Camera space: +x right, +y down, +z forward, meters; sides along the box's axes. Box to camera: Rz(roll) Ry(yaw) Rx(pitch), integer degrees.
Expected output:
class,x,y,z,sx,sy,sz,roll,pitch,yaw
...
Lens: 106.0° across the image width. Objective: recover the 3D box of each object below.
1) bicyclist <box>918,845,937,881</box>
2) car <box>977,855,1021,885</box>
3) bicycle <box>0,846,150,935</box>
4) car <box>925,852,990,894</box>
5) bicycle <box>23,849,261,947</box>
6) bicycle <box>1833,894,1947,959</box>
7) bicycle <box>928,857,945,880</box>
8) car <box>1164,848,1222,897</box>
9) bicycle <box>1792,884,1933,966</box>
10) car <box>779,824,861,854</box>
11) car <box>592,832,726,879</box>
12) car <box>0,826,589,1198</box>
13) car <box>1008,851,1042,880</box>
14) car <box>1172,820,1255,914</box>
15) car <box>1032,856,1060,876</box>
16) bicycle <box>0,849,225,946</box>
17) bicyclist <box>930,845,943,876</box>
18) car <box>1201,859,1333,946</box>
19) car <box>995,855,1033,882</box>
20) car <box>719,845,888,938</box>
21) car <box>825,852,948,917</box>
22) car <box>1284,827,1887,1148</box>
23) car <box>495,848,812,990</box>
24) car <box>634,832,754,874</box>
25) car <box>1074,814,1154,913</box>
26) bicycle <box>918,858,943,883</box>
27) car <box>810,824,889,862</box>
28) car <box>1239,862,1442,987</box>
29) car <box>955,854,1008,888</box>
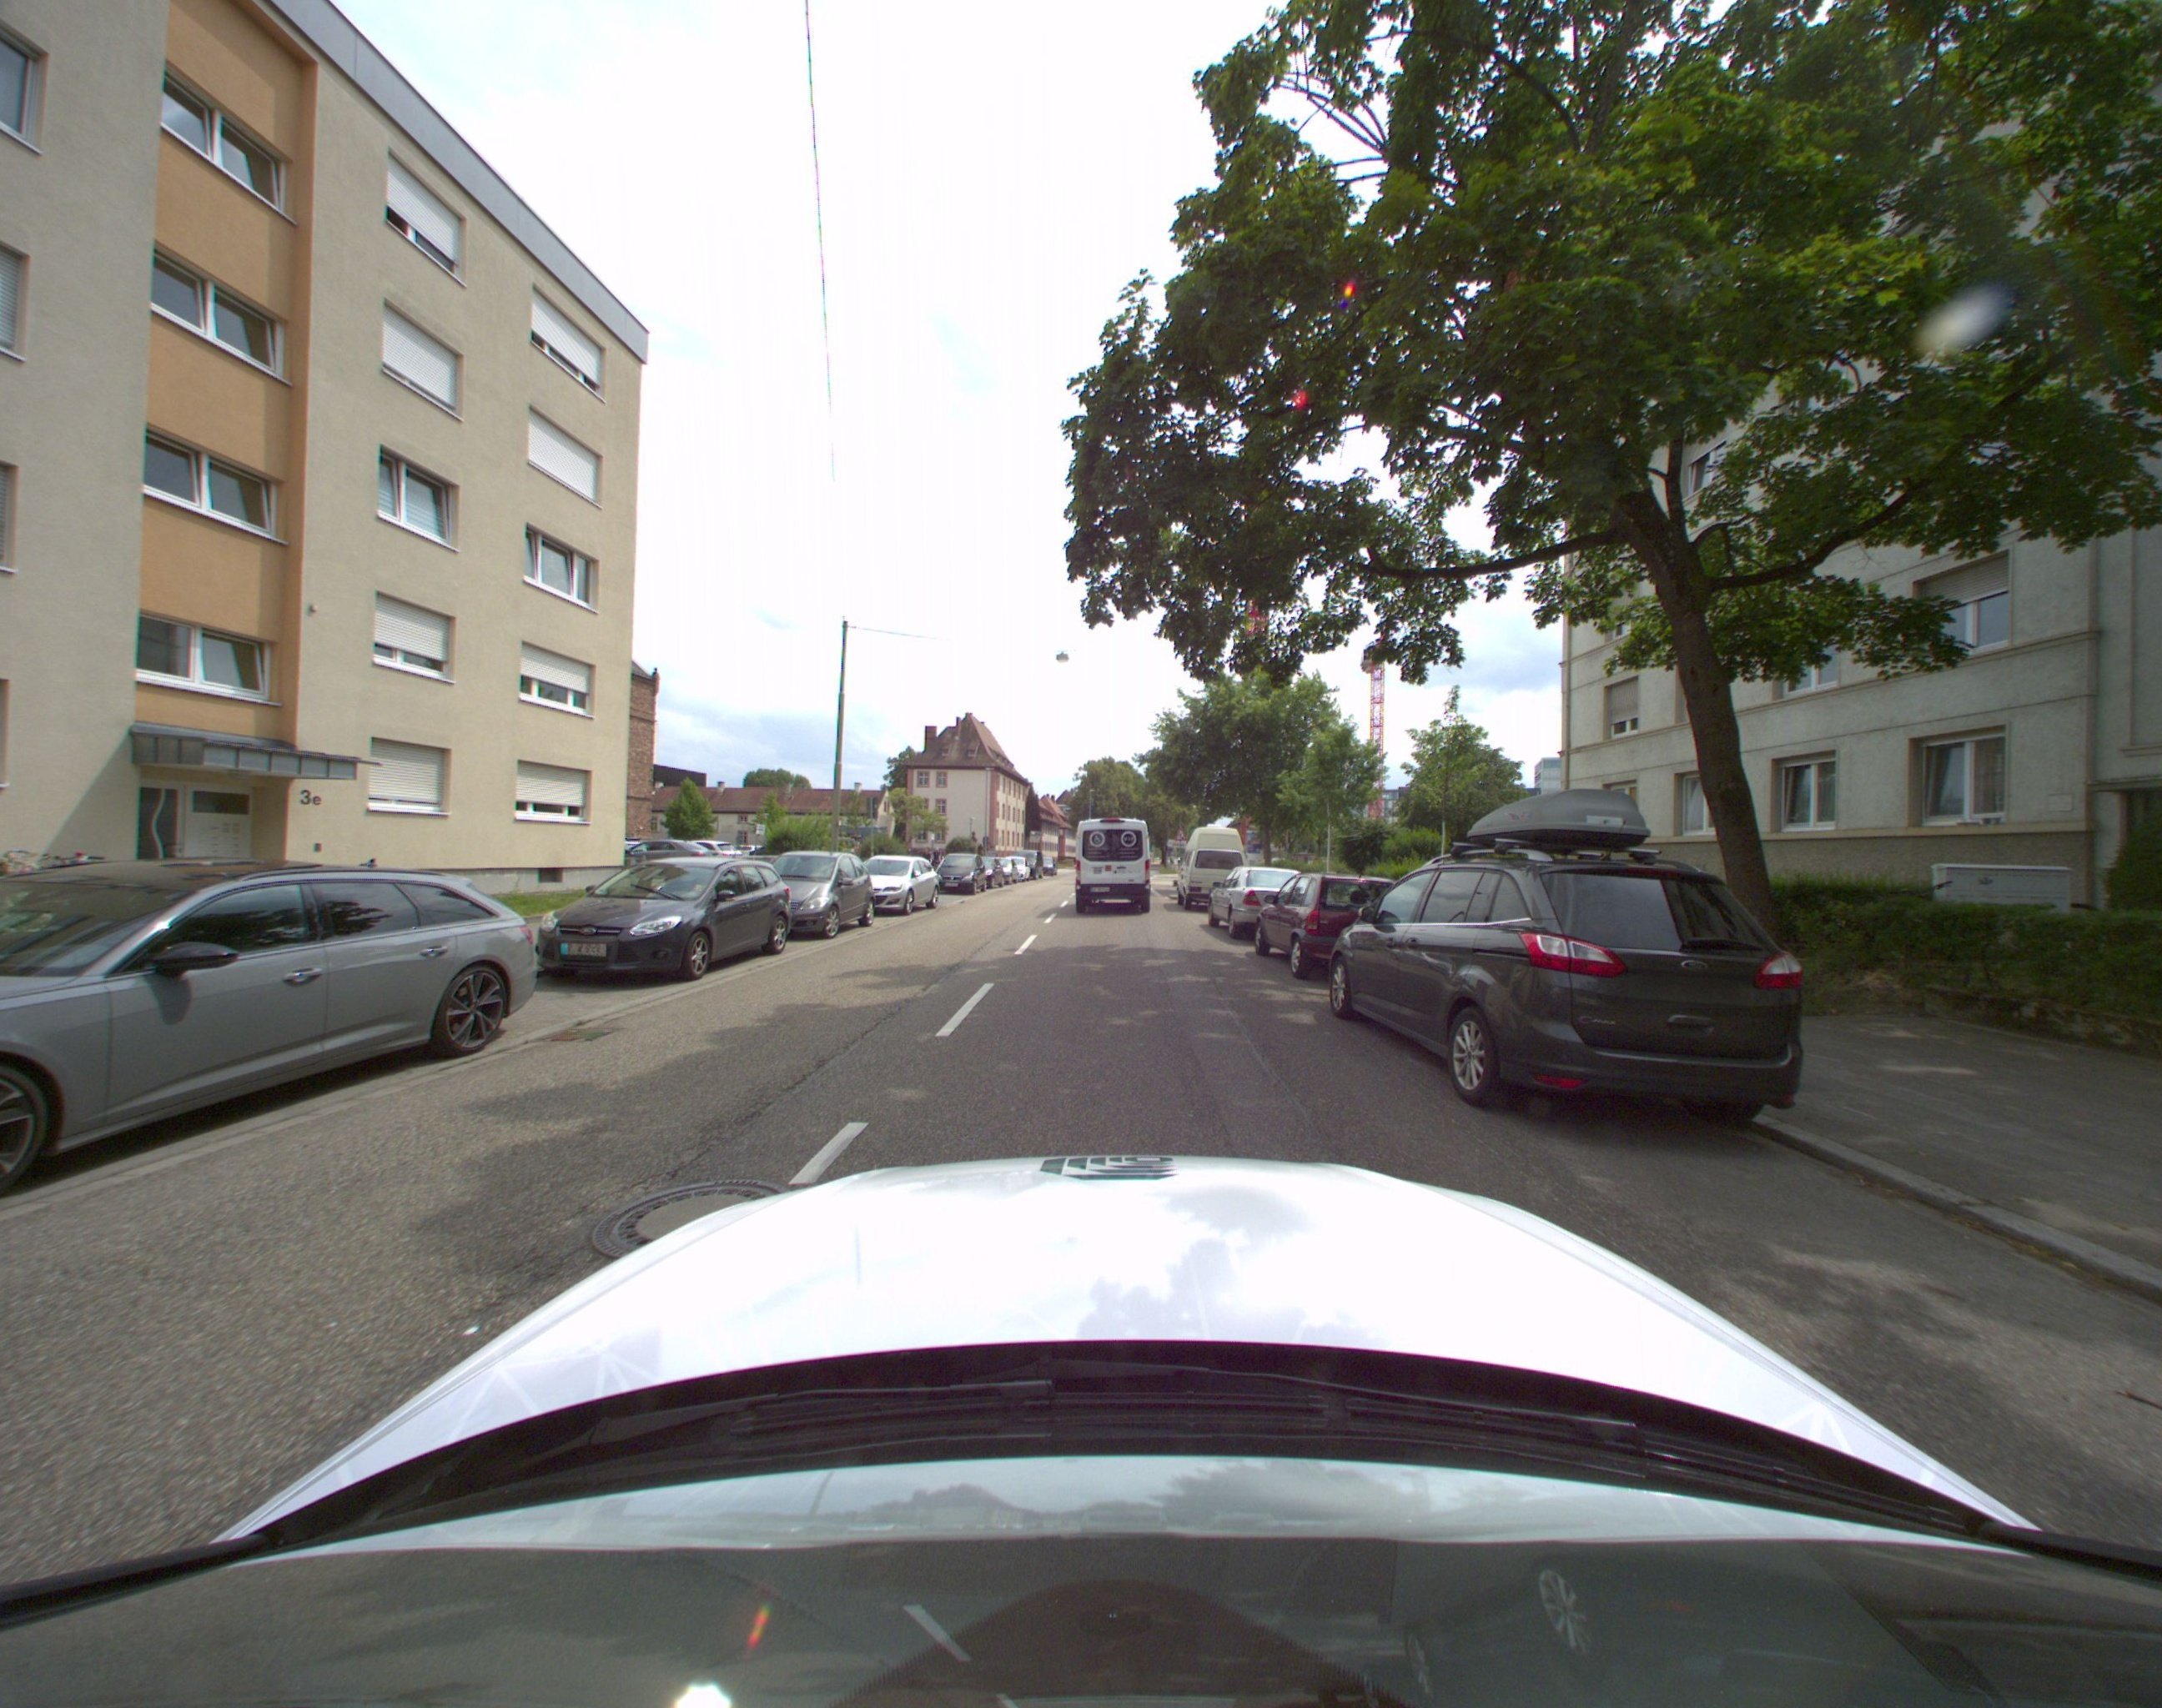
class,x,y,z,sx,sy,sz,roll,pitch,yaw
bicyclist,-7.081,0.404,37.601,0.534,1.653,1.049,0,0,6
car,-4.385,0.835,44.047,1.778,1.462,3.863,2,0,3
bicycle,-13.479,0.446,10.512,0.460,1.086,2.062,1,1,4
car,-4.885,0.734,32.777,1.778,1.543,3.863,2,0,3
bicycle,-11.656,0.493,10.236,0.460,1.086,2.063,1,1,5
bicycle,12.106,1.069,12.194,1.384,0.917,0.512,1,0,-11
bicycle,-7.570,0.756,42.767,0.539,1.175,1.351,0,0,5
car,4.252,0.683,31.512,1.706,1.695,4.002,3,0,2
bicycle,9.410,0.840,9.816,1.384,0.917,0.512,1,0,-11
car,-15.474,-0.863,48.362,4.155,1.684,2.002,1,1,3
car,-16.378,0.051,31.773,4.155,1.684,2.002,1,1,3
car,-5.543,0.661,4.899,1.879,1.579,5.219,2,0,1
car,-3.742,0.739,55.409,1.778,1.827,3.977,2,0,3
car,4.048,0.380,25.673,1.889,2.587,4.831,3,0,2
car,-2.775,0.930,65.296,1.778,1.482,3.863,2,0,3
bicycle,-12.227,0.492,10.319,0.460,1.086,2.063,1,1,5
bicyclist,-7.572,0.327,42.661,0.533,1.585,0.692,0,0,5
car,3.731,0.909,17.131,1.675,1.469,4.555,4,0,0
car,-4.060,0.873,50.172,1.778,1.482,3.863,2,0,3
car,-5.386,0.667,16.430,1.879,1.579,4.153,2,0,1
car,-5.108,0.750,22.087,1.877,1.488,4.638,2,0,4
car,3.452,0.749,7.143,1.921,1.661,5.323,3,0,0
car,-5.490,0.723,11.346,1.735,1.496,4.787,2,0,1
car,-16.485,-0.064,34.843,4.155,1.684,2.002,1,1,3
car,0.861,0.270,23.307,2.063,2.540,4.634,0,-1,0
bicycle,-7.023,0.753,38.113,0.538,1.175,2.095,0,0,6
car,-14.868,-0.711,52.413,4.390,2.348,2.002,1,0,3
car,3.666,0.905,12.276,1.707,1.465,4.000,3,0,0
car,-4.678,0.787,38.672,1.778,1.462,3.863,2,0,3
